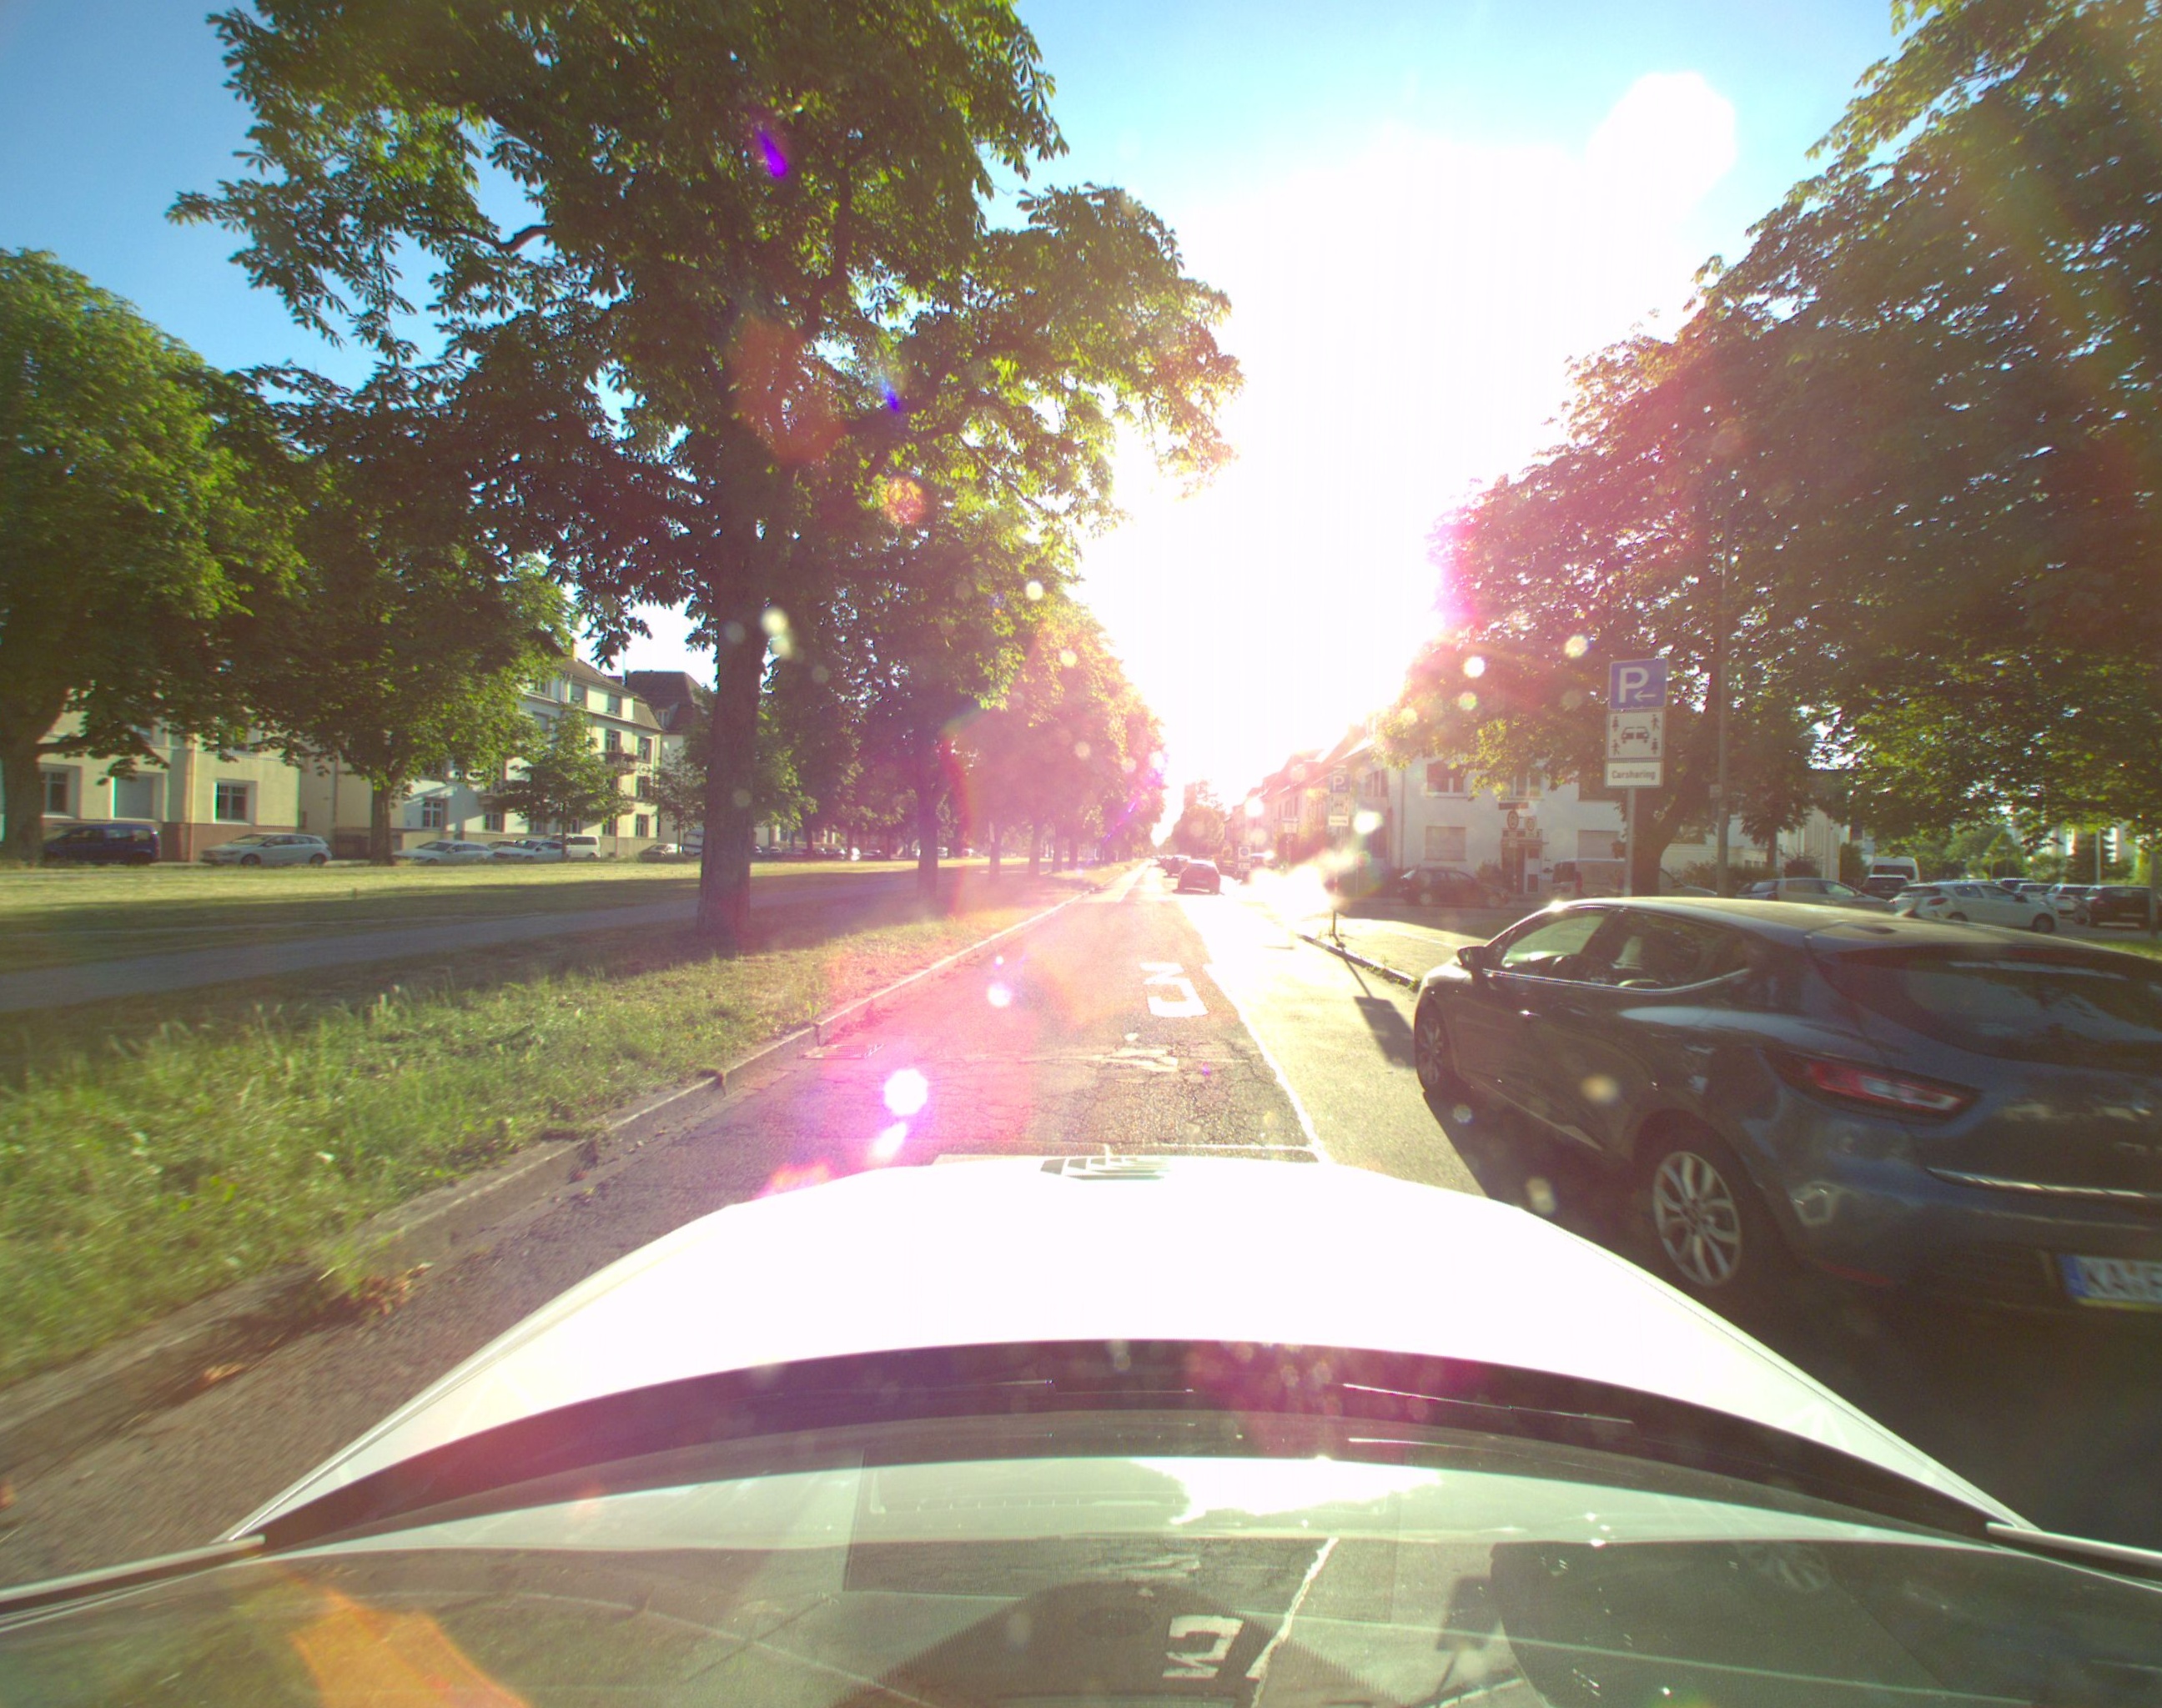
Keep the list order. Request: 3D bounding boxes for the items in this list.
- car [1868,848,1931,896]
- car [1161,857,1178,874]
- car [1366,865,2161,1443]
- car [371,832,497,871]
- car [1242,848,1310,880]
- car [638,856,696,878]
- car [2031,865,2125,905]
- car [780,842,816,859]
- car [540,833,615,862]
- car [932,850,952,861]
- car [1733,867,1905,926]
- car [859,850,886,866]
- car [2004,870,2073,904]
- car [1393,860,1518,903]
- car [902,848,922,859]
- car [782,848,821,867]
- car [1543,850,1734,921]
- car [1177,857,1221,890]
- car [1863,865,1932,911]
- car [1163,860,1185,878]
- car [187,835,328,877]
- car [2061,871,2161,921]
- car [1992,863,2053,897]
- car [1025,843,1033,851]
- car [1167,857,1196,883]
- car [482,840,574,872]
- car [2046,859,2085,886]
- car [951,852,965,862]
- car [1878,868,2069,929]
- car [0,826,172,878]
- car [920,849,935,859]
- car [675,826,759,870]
[{"bbox_3d":[44.850,1.017,44.582,4.542,2.337,2.088,5,-1,-41],"label":"car"},{"bbox_3d":[11.632,1.490,107.280,1.985,2.014,4.004,4,-1,4],"label":"car"},{"bbox_3d":[3.106,0.865,4.501,1.718,1.511,4.545,2,0,4],"label":"car"},{"bbox_3d":[-31.279,-0.049,39.579,1.983,1.659,4.578,4,-1,7],"label":"car"},{"bbox_3d":[12.581,0.641,52.645,3.973,1.823,1.759,1,-6,0],"label":"car"},{"bbox_3d":[-34.038,1.071,67.121,1.983,1.659,4.578,4,-1,7],"label":"car"},{"bbox_3d":[42.904,1.308,35.156,1.975,1.570,4.133,2,0,42],"label":"car"},{"bbox_3d":[-31.499,-0.363,90.860,1.983,1.659,4.382,4,-1,7],"label":"car"},{"bbox_3d":[-35.436,-0.479,57.468,1.985,1.950,4.883,1,1,4],"label":"car"},{"bbox_3d":[-22.368,0.262,131.249,2.013,1.659,3.989,4,-1,6],"label":"car"},{"bbox_3d":[21.186,1.187,23.455,3.542,1.516,1.605,2,-1,-1],"label":"car"},{"bbox_3d":[-25.679,0.559,100.617,1.802,1.781,4.128,4,-1,6],"label":"car"},{"bbox_3d":[54.410,1.900,46.368,1.975,1.721,3.852,3,-1,42],"label":"car"},{"bbox_3d":[14.148,1.035,30.928,3.969,1.447,1.718,2,-1,4],"label":"car"},{"bbox_3d":[-28.490,-0.009,137.312,1.983,1.659,4.363,4,-1,7],"label":"car"},{"bbox_3d":[-27.538,0.365,80.400,1.870,1.674,4.321,4,-1,6],"label":"car"},{"bbox_3d":[16.397,0.904,24.153,4.222,1.875,2.033,2,-1,4],"label":"car"},{"bbox_3d":[5.445,0.904,37.939,1.701,1.359,4.208,4,-1,5],"label":"car"},{"bbox_3d":[40.114,1.684,39.974,4.019,2.014,1.977,5,-1,-40],"label":"car"},{"bbox_3d":[9.292,1.523,81.809,1.985,1.653,4.004,2,-1,4],"label":"car"},{"bbox_3d":[-37.249,0.125,36.999,1.983,1.659,4.007,4,-1,7],"label":"car"},{"bbox_3d":[36.067,1.405,28.456,4.023,1.552,1.976,1,0,-45],"label":"car"},{"bbox_3d":[58.346,1.610,50.525,1.906,1.855,4.023,3,-1,42],"label":"car"},{"bbox_3d":[-13.855,-1.829,217.222,1.647,1.938,3.571,4,-2,4],"label":"car"},{"bbox_3d":[7.828,1.243,63.672,1.985,1.781,4.005,4,0,4],"label":"car"},{"bbox_3d":[-30.645,0.082,45.313,1.788,1.554,4.423,4,0,3],"label":"car"},{"bbox_3d":[84.007,1.625,69.540,4.020,2.014,1.977,5,-1,-41],"label":"car"},{"bbox_3d":[-22.776,0.574,150.810,1.721,1.690,3.881,4,-2,3],"label":"car"},{"bbox_3d":[25.743,1.271,23.563,3.909,1.524,1.523,3,-2,0],"label":"car"},{"bbox_3d":[-37.952,-0.031,30.792,1.983,1.736,4.319,4,-1,7],"label":"car"},{"bbox_3d":[-27.334,0.071,145.023,1.632,1.643,3.857,4,-1,3],"label":"car"},{"bbox_3d":[-28.802,-0.446,64.875,2.381,3.130,7.864,4,0,5],"label":"car"}]
